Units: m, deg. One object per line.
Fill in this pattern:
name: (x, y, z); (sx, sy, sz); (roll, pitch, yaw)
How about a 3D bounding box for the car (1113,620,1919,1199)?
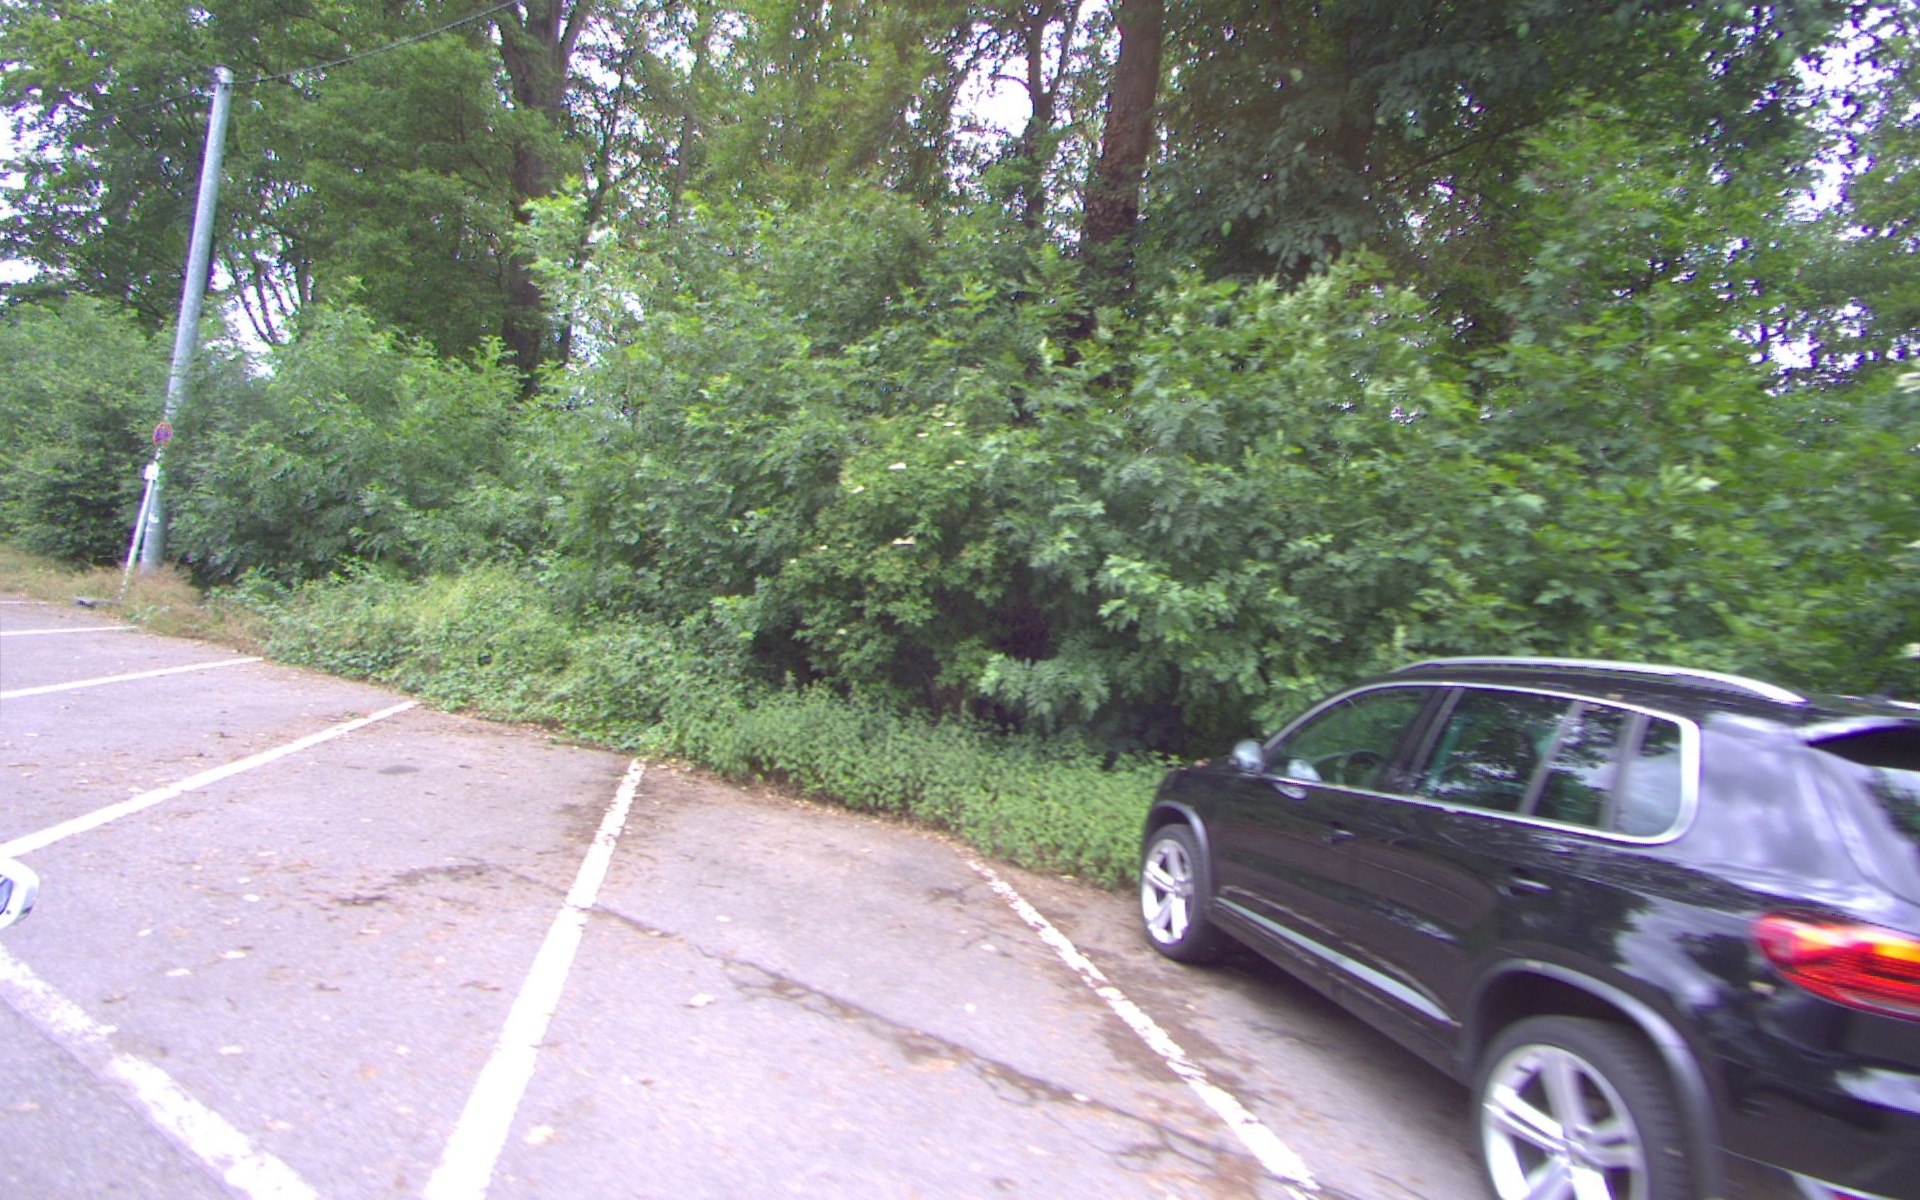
car: (2.278, 1.090, 3.996); (1.756, 1.704, 4.063); (8, -1, -13)
